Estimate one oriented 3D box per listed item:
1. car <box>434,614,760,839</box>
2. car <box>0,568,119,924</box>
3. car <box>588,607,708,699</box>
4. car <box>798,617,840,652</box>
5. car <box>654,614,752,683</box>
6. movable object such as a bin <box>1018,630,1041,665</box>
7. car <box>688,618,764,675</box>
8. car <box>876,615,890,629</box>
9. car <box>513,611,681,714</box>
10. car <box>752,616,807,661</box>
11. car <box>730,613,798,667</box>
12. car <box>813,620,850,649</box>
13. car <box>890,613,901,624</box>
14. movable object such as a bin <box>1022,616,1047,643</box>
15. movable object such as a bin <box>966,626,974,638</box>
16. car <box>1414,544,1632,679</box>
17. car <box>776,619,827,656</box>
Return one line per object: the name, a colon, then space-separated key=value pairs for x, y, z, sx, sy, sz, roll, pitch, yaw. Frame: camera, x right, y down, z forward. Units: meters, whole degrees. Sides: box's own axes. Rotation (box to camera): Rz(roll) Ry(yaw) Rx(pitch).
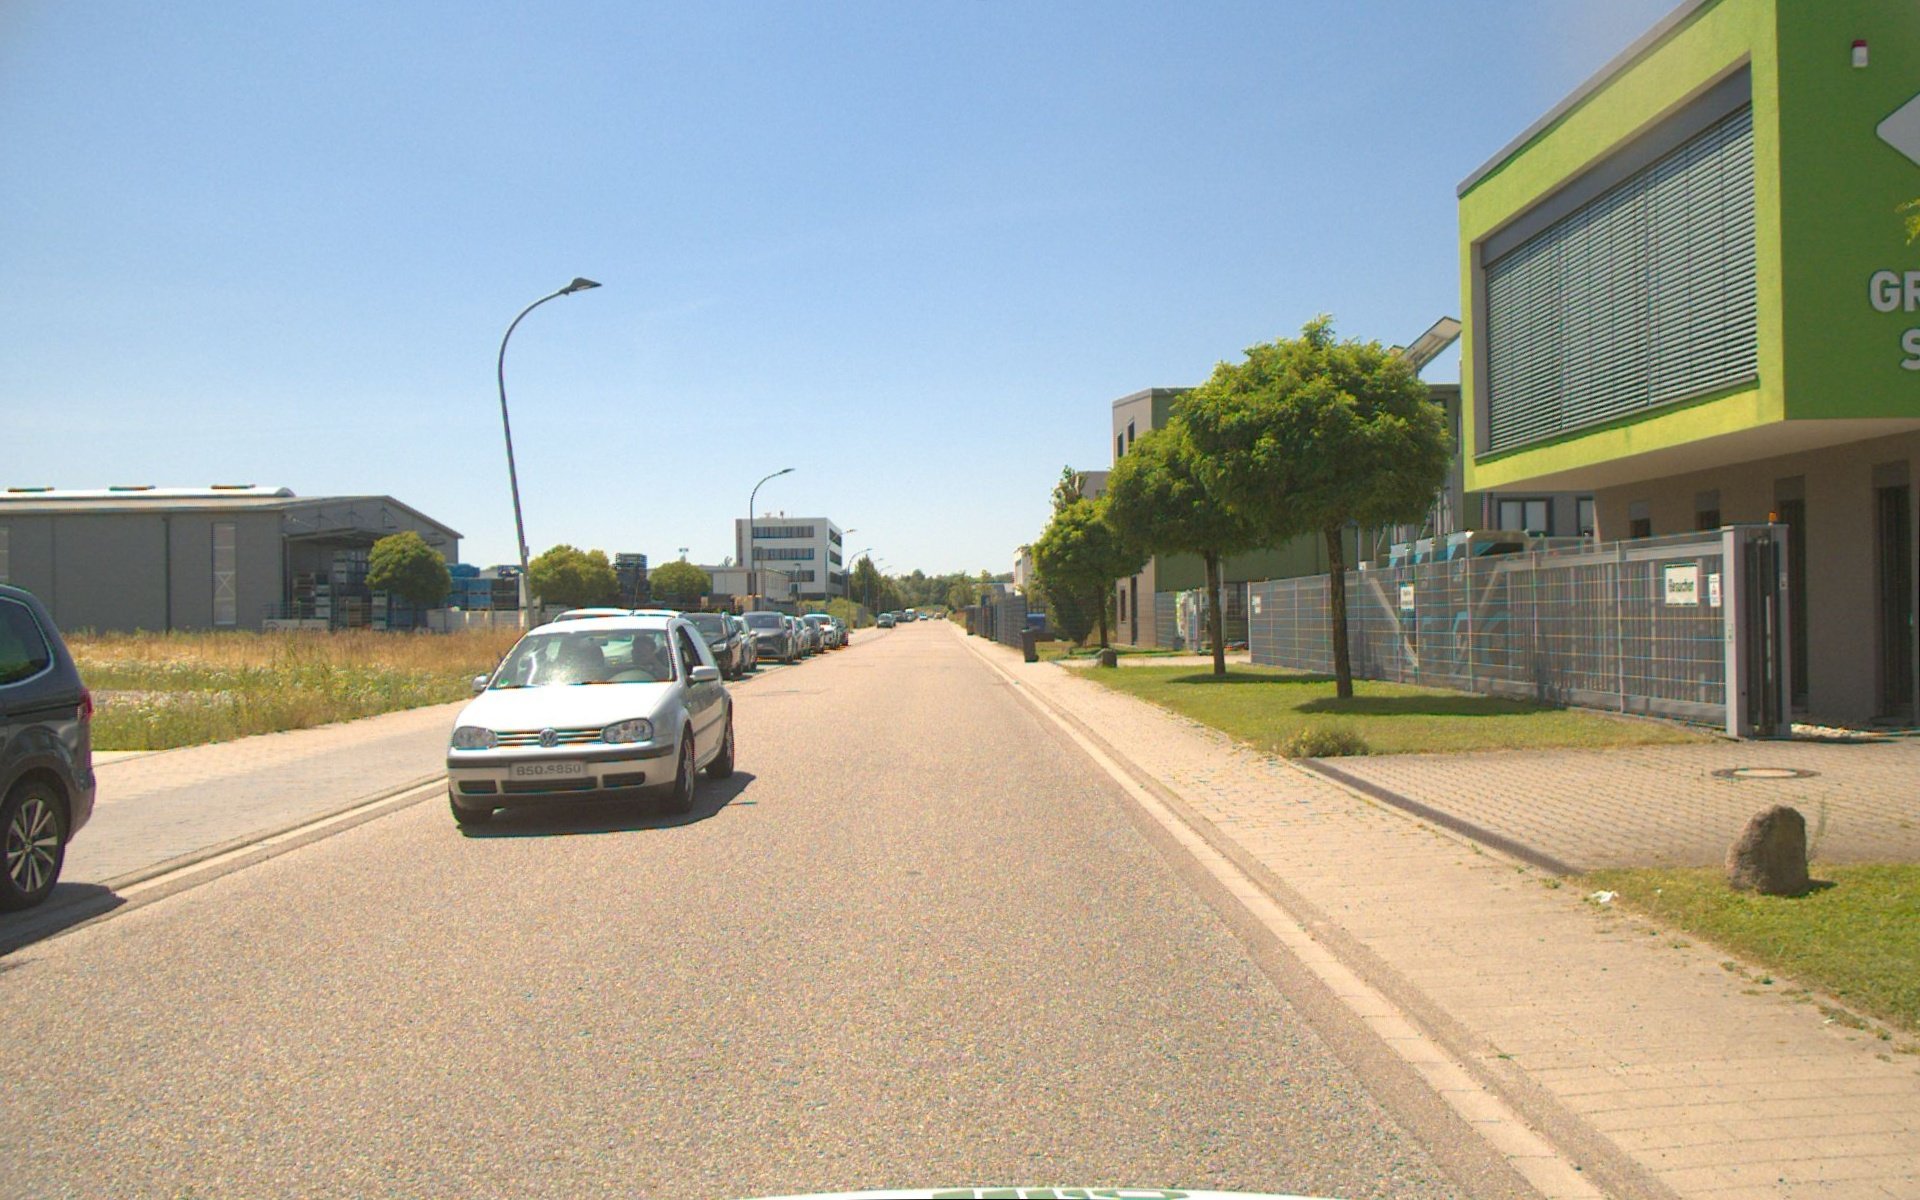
car: x=-2.771 y=0.883 z=13.704 sx=1.669 sy=1.436 sz=4.783 roll=-3 pitch=0 yaw=-1
car: x=-5.570 y=0.703 z=6.928 sx=1.766 sy=1.750 sz=4.621 roll=0 pitch=0 yaw=-1
car: x=-6.043 y=0.994 z=32.391 sx=1.751 sy=1.685 sz=3.767 roll=0 pitch=-1 yaw=-2
car: x=-6.656 y=1.613 z=78.252 sx=1.733 sy=1.620 sz=4.358 roll=0 pitch=-1 yaw=-2
car: x=-6.083 y=1.126 z=39.575 sx=1.727 sy=1.544 sz=4.378 roll=0 pitch=-1 yaw=-1
movable object such as a bin: x=2.033 y=1.376 z=48.085 sx=0.540 sy=0.944 sz=0.522 roll=-5 pitch=-1 yaw=9
car: x=-6.360 y=1.227 z=45.254 sx=1.728 sy=1.476 sz=4.197 roll=0 pitch=-1 yaw=-4
car: x=-8.560 y=2.433 z=184.175 sx=1.437 sy=1.516 sz=3.206 roll=-1 pitch=-1 yaw=-1
car: x=-5.862 y=0.968 z=27.238 sx=1.750 sy=1.569 sz=4.364 roll=0 pitch=-1 yaw=1
car: x=-6.428 y=1.369 z=59.149 sx=1.659 sy=1.552 sz=3.733 roll=0 pitch=-1 yaw=-2
car: x=-6.218 y=1.245 z=52.871 sx=1.754 sy=1.635 sz=4.461 roll=0 pitch=-1 yaw=-2
car: x=-6.921 y=1.853 z=89.416 sx=1.733 sy=1.487 sz=4.332 roll=0 pitch=-1 yaw=-1
car: x=-9.323 y=2.692 z=239.141 sx=1.611 sy=1.516 sz=3.206 roll=-1 pitch=-1 yaw=-1
movable object such as a bin: x=4.255 y=1.692 z=94.680 sx=1.307 sy=1.485 sz=0.948 roll=-1 pitch=-1 yaw=-2
movable object such as a bin: x=0.831 y=2.630 z=136.342 sx=0.541 sy=0.944 sz=0.522 roll=-5 pitch=0 yaw=3
car: x=11.936 y=0.259 z=35.738 sx=2.086 sy=2.537 sz=7.023 roll=-3 pitch=-1 yaw=-1
car: x=-6.627 y=1.544 z=69.552 sx=1.819 sy=1.507 sz=4.228 roll=0 pitch=-1 yaw=-1
